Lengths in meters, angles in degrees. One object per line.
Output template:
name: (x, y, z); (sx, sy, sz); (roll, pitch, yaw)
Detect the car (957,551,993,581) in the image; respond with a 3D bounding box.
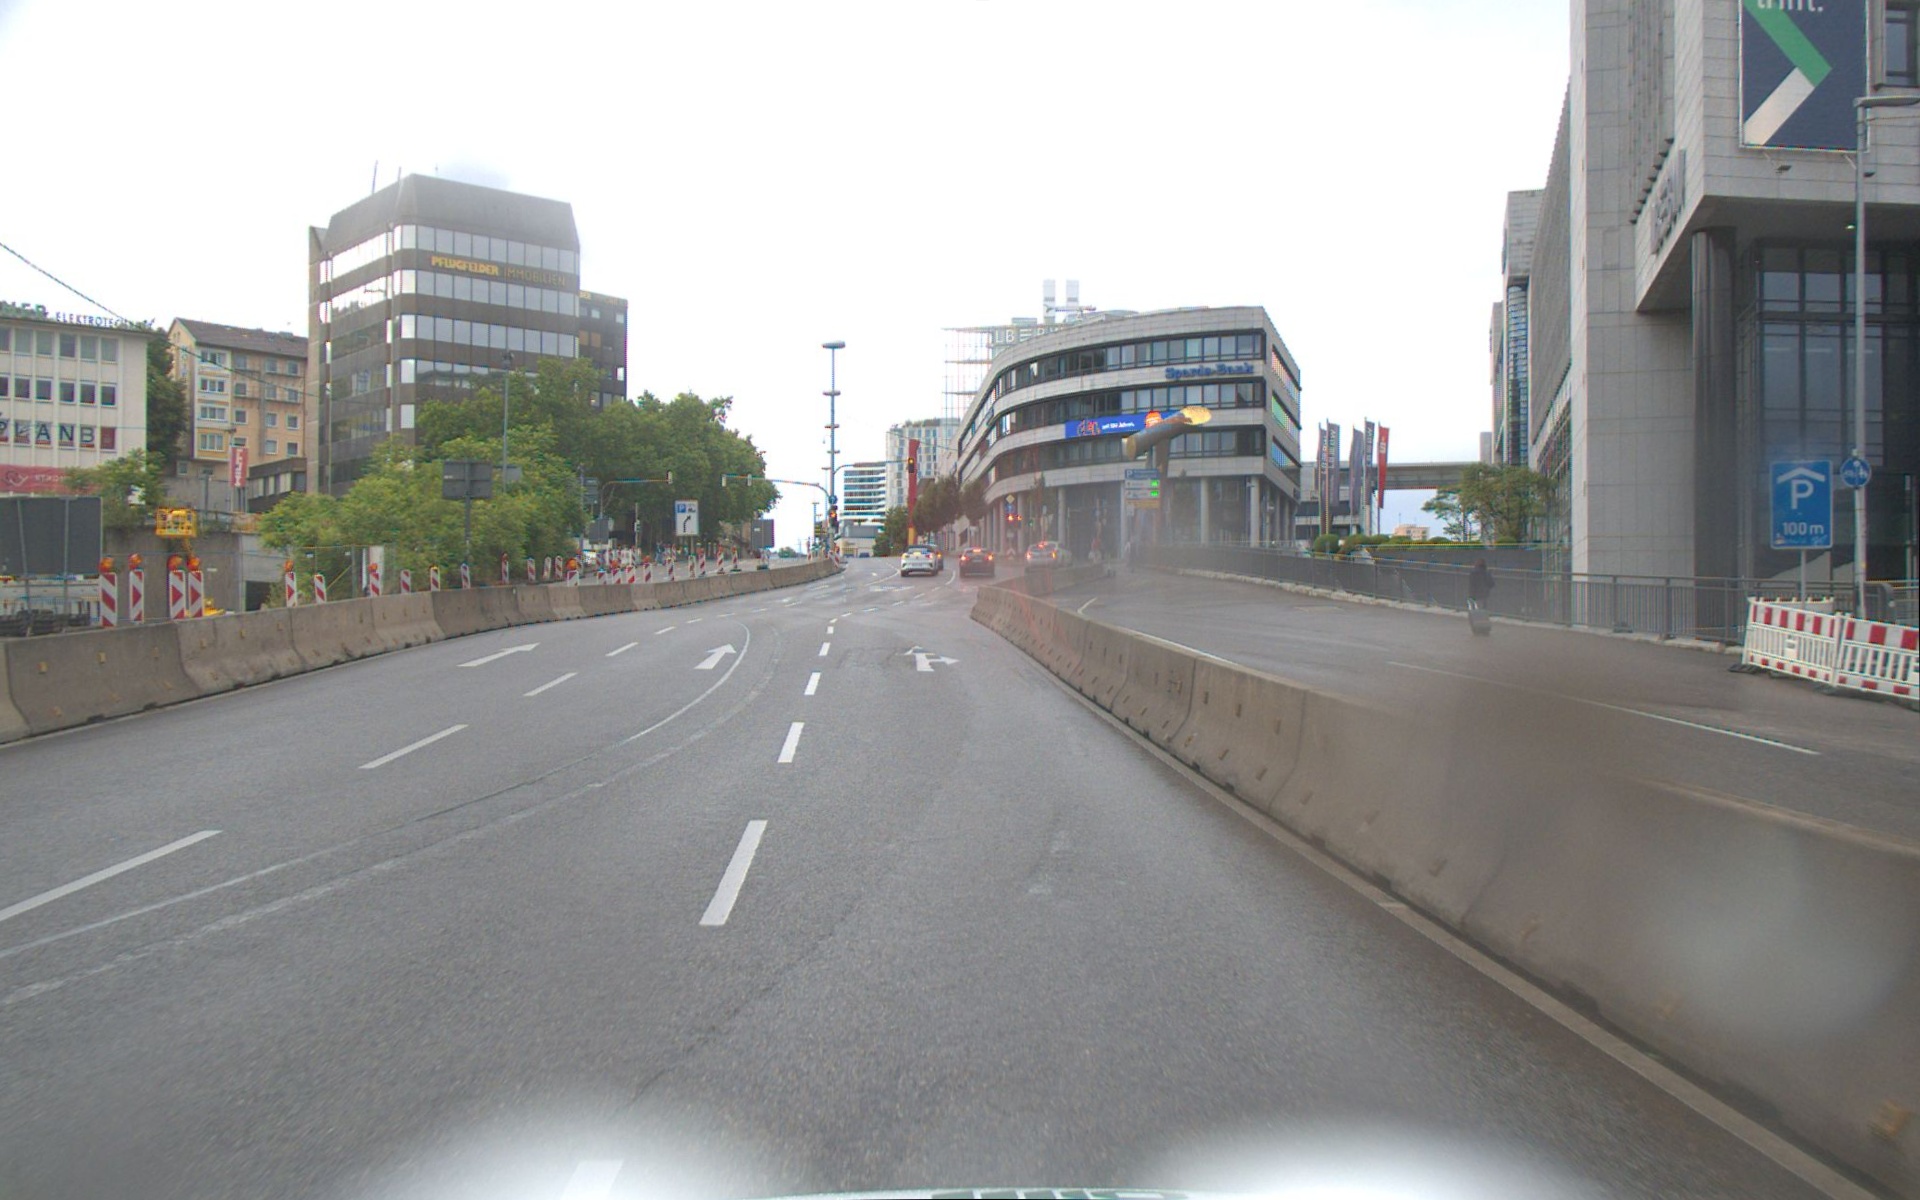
car: (0.738, -1.675, 82.471); (1.719, 1.432, 4.227); (1, 1, 0)

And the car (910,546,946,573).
car: (-1.821, -2.291, 92.997); (1.706, 1.468, 3.996); (0, 2, -6)

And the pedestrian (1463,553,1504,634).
pedestrian: (11.071, -0.148, 34.978); (0.715, 1.681, 1.060); (0, 1, 24)

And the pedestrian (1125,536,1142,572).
pedestrian: (8.473, -2.225, 80.818); (0.715, 1.741, 0.842); (0, 0, -4)

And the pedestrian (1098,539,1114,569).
pedestrian: (9.640, -3.060, 109.295); (0.823, 1.938, 0.861); (0, 0, 22)

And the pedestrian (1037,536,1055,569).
pedestrian: (5.738, -3.161, 110.496); (0.842, 2.135, 0.897); (1, 2, -27)

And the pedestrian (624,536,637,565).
pedestrian: (-22.166, -3.309, 111.211); (0.745, 1.956, 0.742); (0, 0, -1)

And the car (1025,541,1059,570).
car: (4.340, -2.310, 87.334); (1.665, 1.476, 4.619); (0, 1, 4)

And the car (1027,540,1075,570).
car: (5.232, -2.608, 94.732); (1.734, 1.662, 4.585); (0, 2, 16)

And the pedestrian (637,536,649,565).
pedestrian: (-21.306, -3.299, 111.249); (0.658, 1.935, 0.775); (0, 0, -1)

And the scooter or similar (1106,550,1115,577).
scooter or similar: (6.647, -1.603, 72.990); (0.341, 1.183, 0.573); (0, 1, 11)

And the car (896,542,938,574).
car: (-2.159, -2.157, 84.423); (1.923, 1.575, 4.220); (0, 2, 1)
